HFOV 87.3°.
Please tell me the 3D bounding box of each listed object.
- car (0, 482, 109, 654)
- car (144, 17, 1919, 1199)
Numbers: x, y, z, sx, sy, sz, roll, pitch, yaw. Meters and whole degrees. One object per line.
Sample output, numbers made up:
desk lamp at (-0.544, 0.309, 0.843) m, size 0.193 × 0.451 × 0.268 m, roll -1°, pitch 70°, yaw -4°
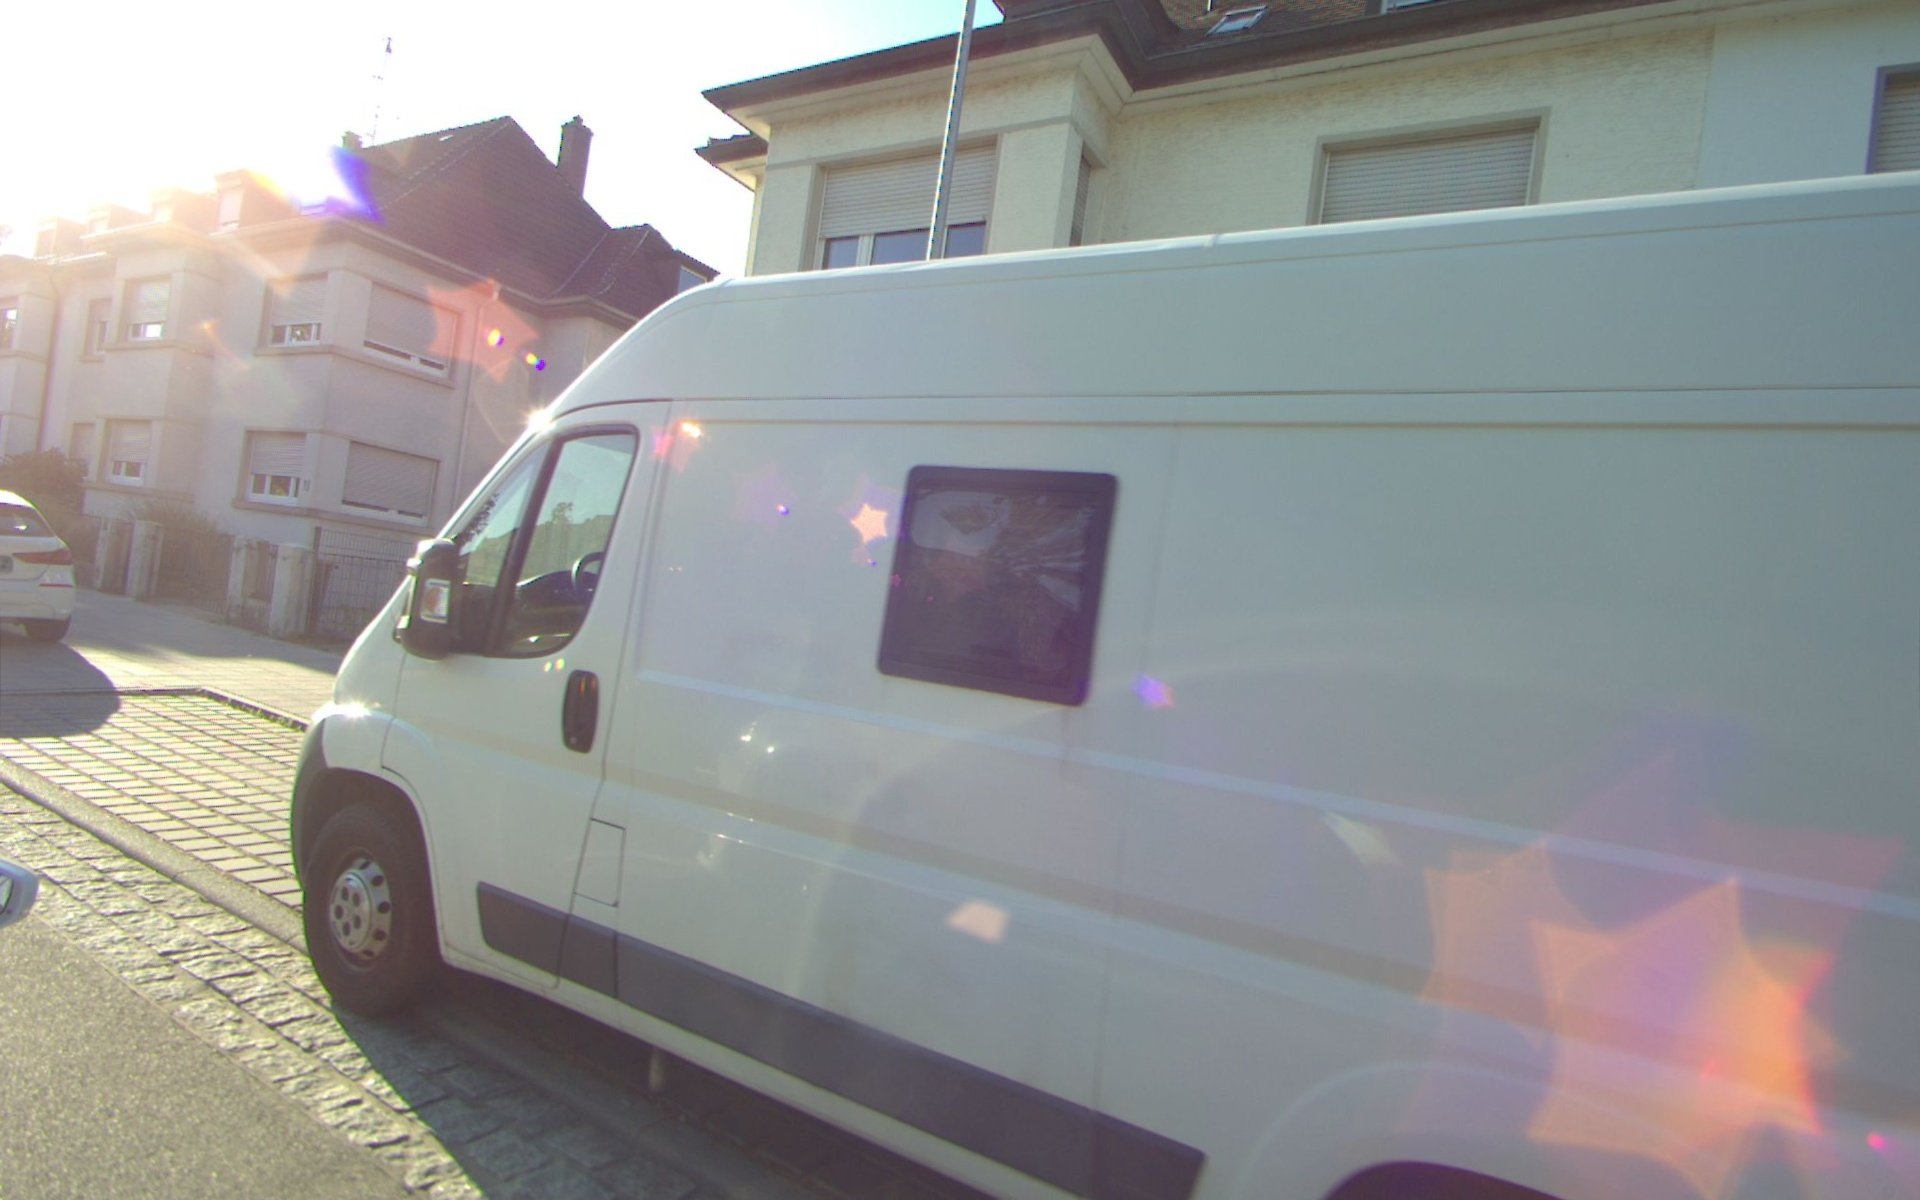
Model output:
car at (-10.508, -0.530, 9.990) m, size 4.162 × 1.526 × 1.785 m, roll 7°, pitch 0°, yaw 31°
car at (0.028, 0.342, 3.296) m, size 5.414 × 2.546 × 2.135 m, roll 7°, pitch -2°, yaw 30°
